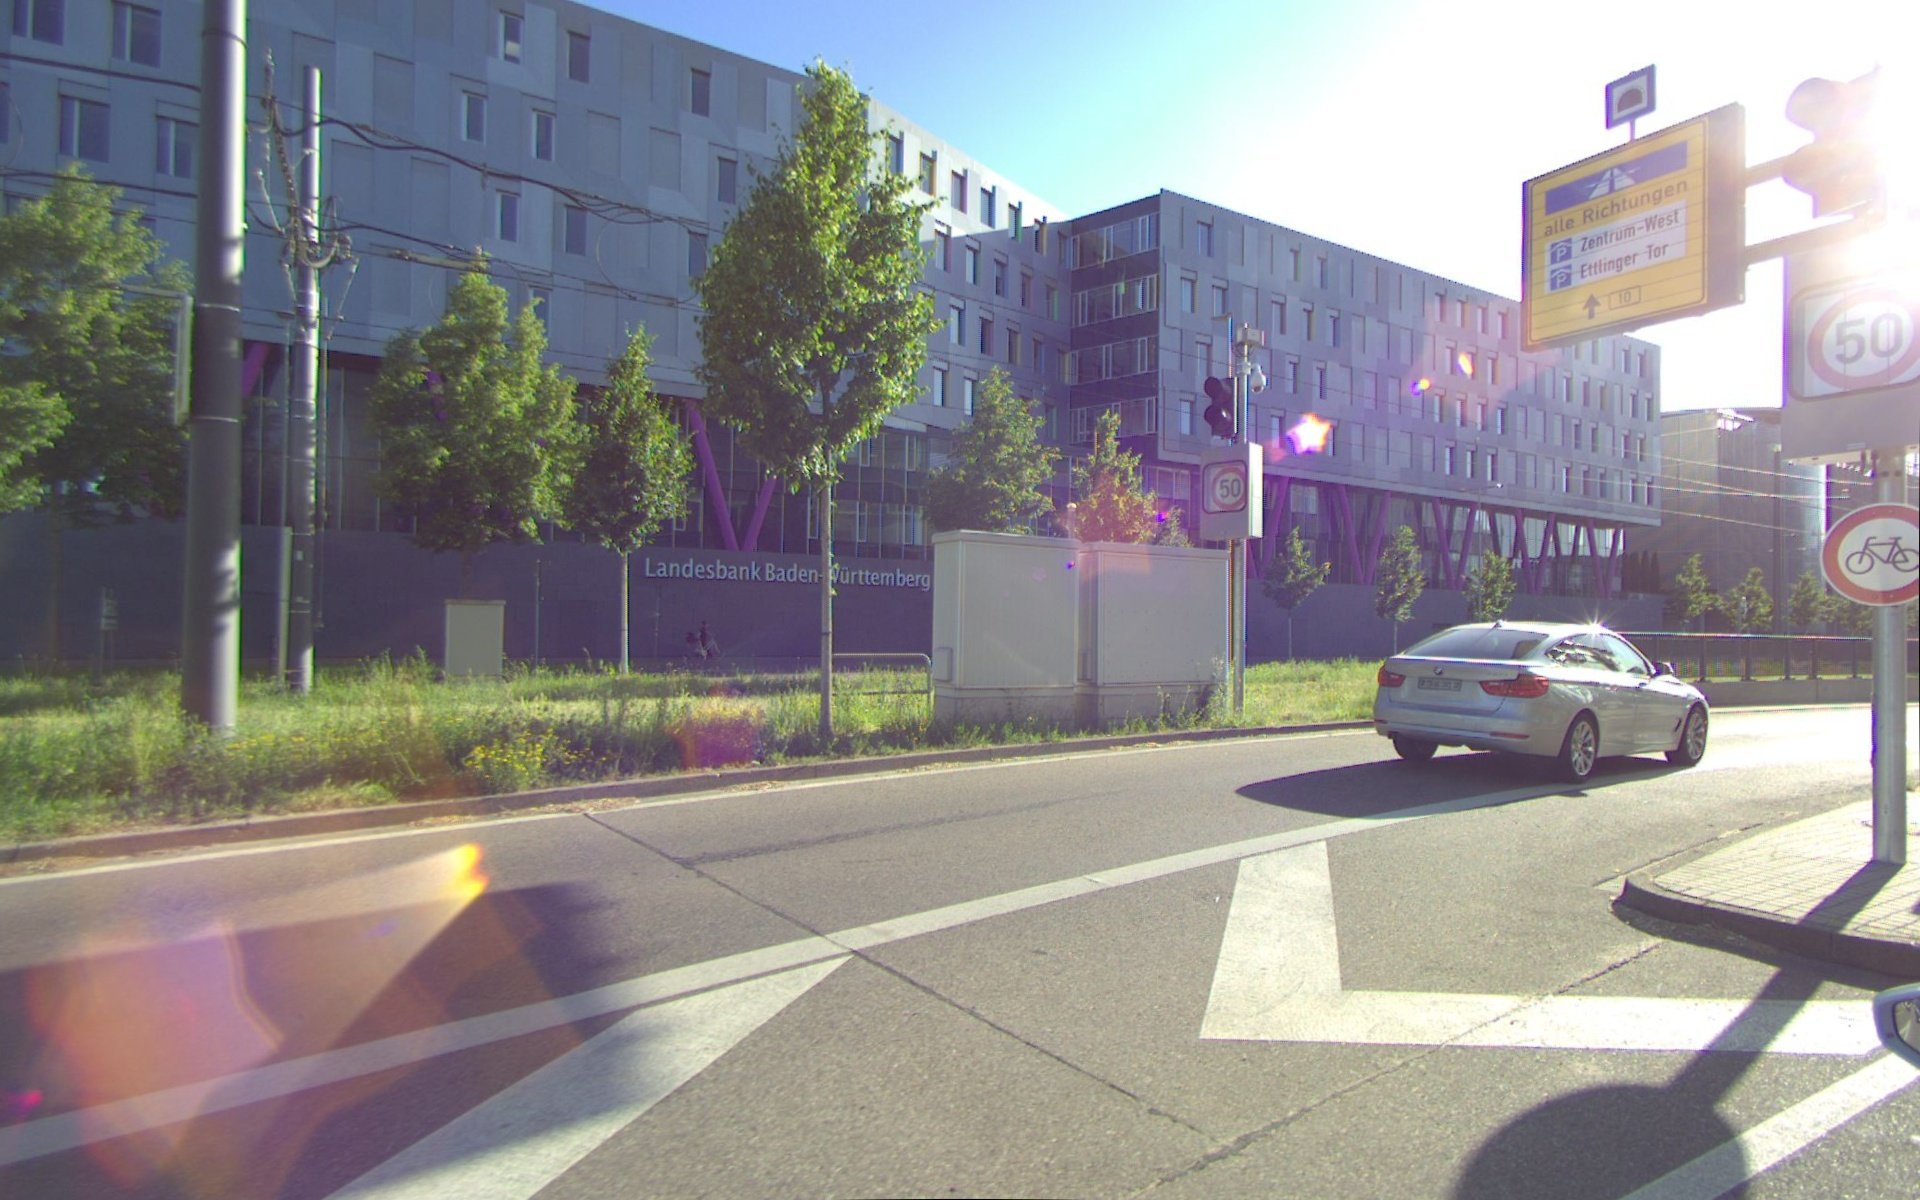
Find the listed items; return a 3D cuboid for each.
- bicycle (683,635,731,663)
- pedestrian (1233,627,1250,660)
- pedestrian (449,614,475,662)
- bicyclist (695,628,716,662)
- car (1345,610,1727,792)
[{"bbox_3d":[-11.122,2.150,44.163,1.952,1.188,0.517,1,-2,-31],"label":"bicycle"},{"bbox_3d":[17.426,2.709,62.236,0.681,2.040,0.733,1,-1,-30],"label":"pedestrian"},{"bbox_3d":[-19.435,1.483,39.210,0.861,1.846,0.717,1,-1,-30],"label":"pedestrian"},{"bbox_3d":[-11.293,1.998,44.610,0.754,1.515,0.556,1,-1,-30],"label":"bicyclist"},{"bbox_3d":[6.394,0.940,10.913,4.864,1.547,1.786,1,0,-36],"label":"car"}]
